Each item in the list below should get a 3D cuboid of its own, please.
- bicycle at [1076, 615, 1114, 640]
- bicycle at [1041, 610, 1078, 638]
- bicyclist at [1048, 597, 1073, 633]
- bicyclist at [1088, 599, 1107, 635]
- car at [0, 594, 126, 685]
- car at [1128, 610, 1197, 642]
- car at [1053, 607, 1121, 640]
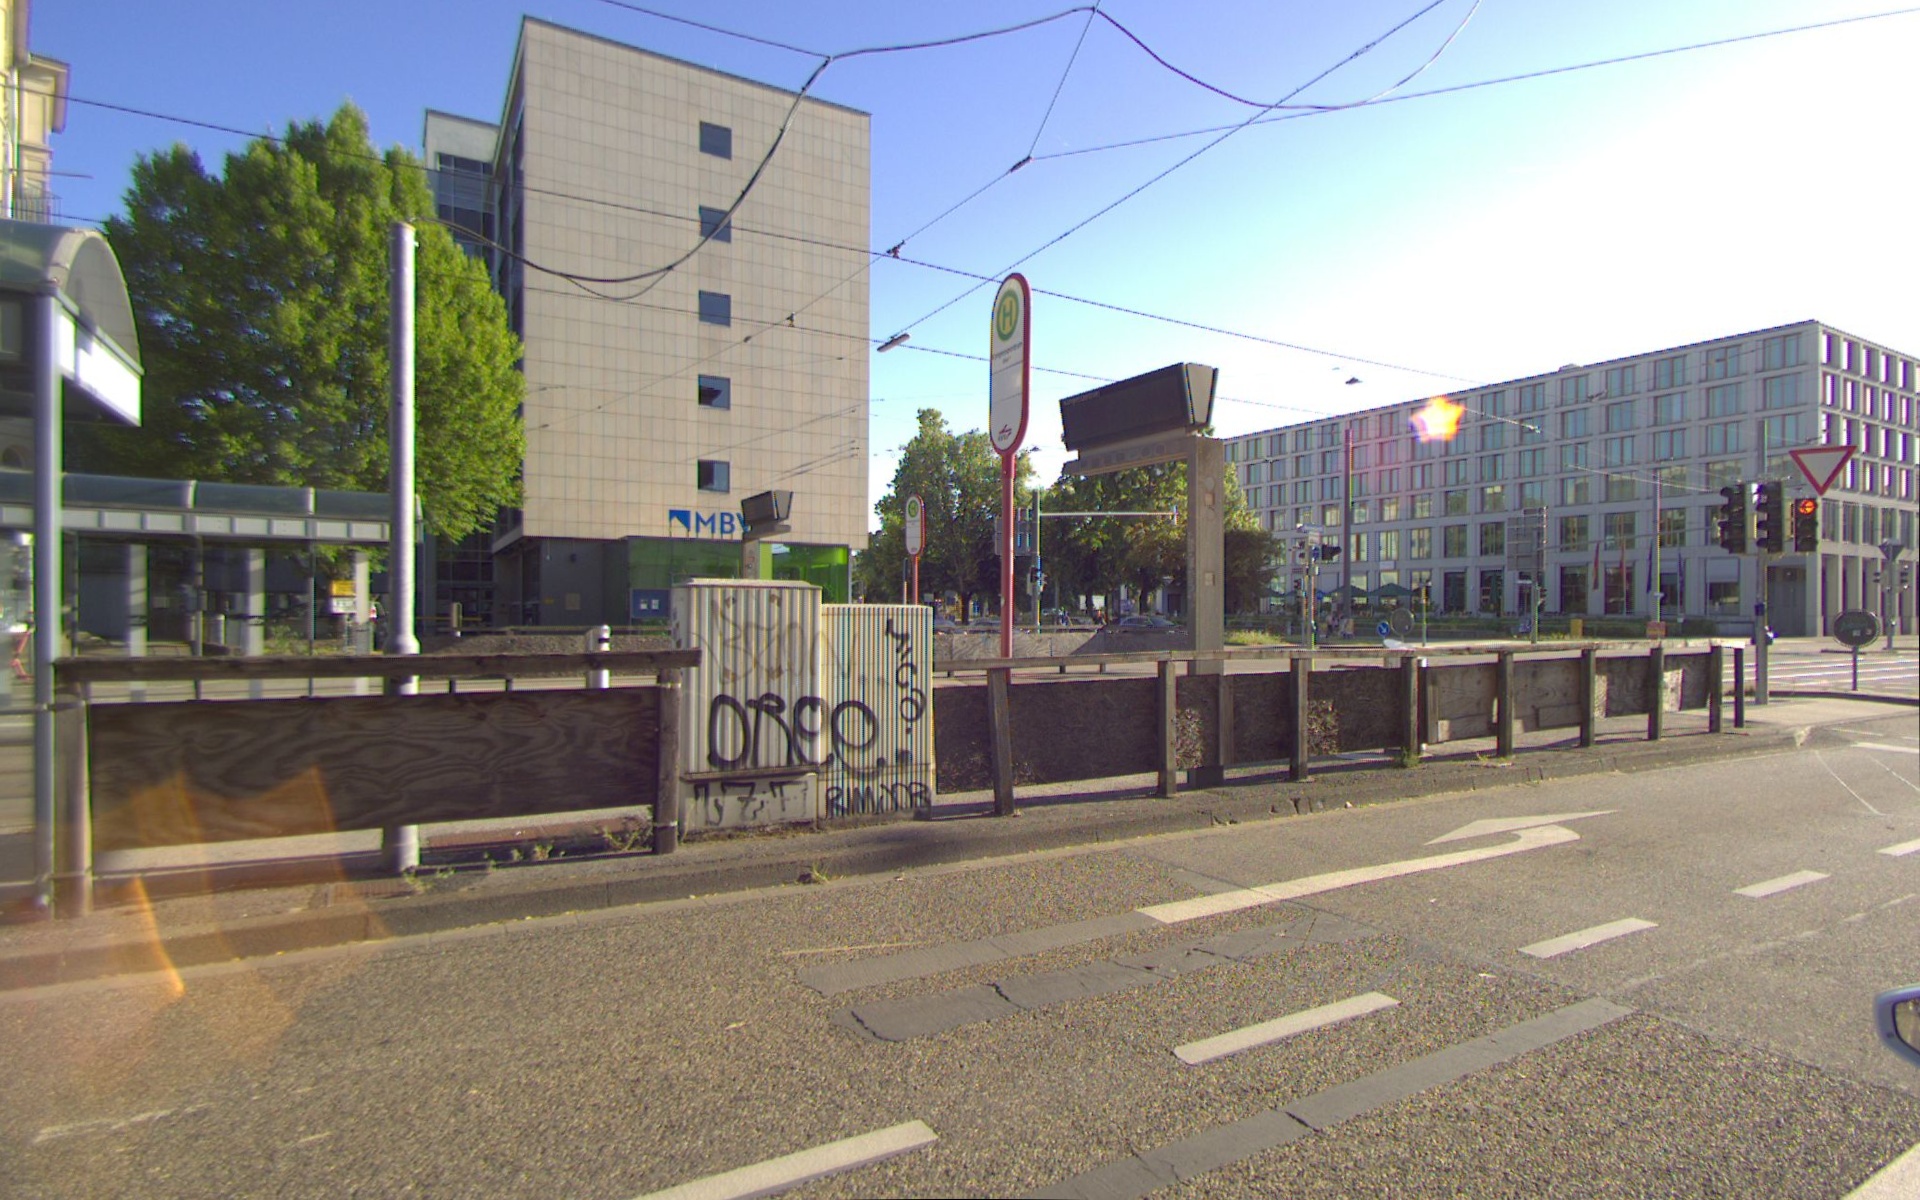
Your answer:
[{"bbox_3d":[6.091,1.240,45.459,0.779,1.137,1.917,1,-1,-25],"label":"bicycle"},{"bbox_3d":[4.711,1.147,47.708,0.874,1.305,2.042,1,-1,-24],"label":"bicycle"},{"bbox_3d":[4.758,0.711,47.545,0.833,1.717,0.887,1,-1,-24],"label":"bicyclist"},{"bbox_3d":[6.205,0.763,45.388,0.586,1.603,0.616,1,-1,-26],"label":"bicyclist"},{"bbox_3d":[-18.779,0.726,20.118,4.432,1.590,1.588,2,0,28],"label":"car"},{"bbox_3d":[10.417,1.326,51.749,1.505,1.526,3.511,1,0,-32],"label":"car"},{"bbox_3d":[6.317,1.145,50.174,1.505,1.526,3.511,1,0,-32],"label":"car"}]
